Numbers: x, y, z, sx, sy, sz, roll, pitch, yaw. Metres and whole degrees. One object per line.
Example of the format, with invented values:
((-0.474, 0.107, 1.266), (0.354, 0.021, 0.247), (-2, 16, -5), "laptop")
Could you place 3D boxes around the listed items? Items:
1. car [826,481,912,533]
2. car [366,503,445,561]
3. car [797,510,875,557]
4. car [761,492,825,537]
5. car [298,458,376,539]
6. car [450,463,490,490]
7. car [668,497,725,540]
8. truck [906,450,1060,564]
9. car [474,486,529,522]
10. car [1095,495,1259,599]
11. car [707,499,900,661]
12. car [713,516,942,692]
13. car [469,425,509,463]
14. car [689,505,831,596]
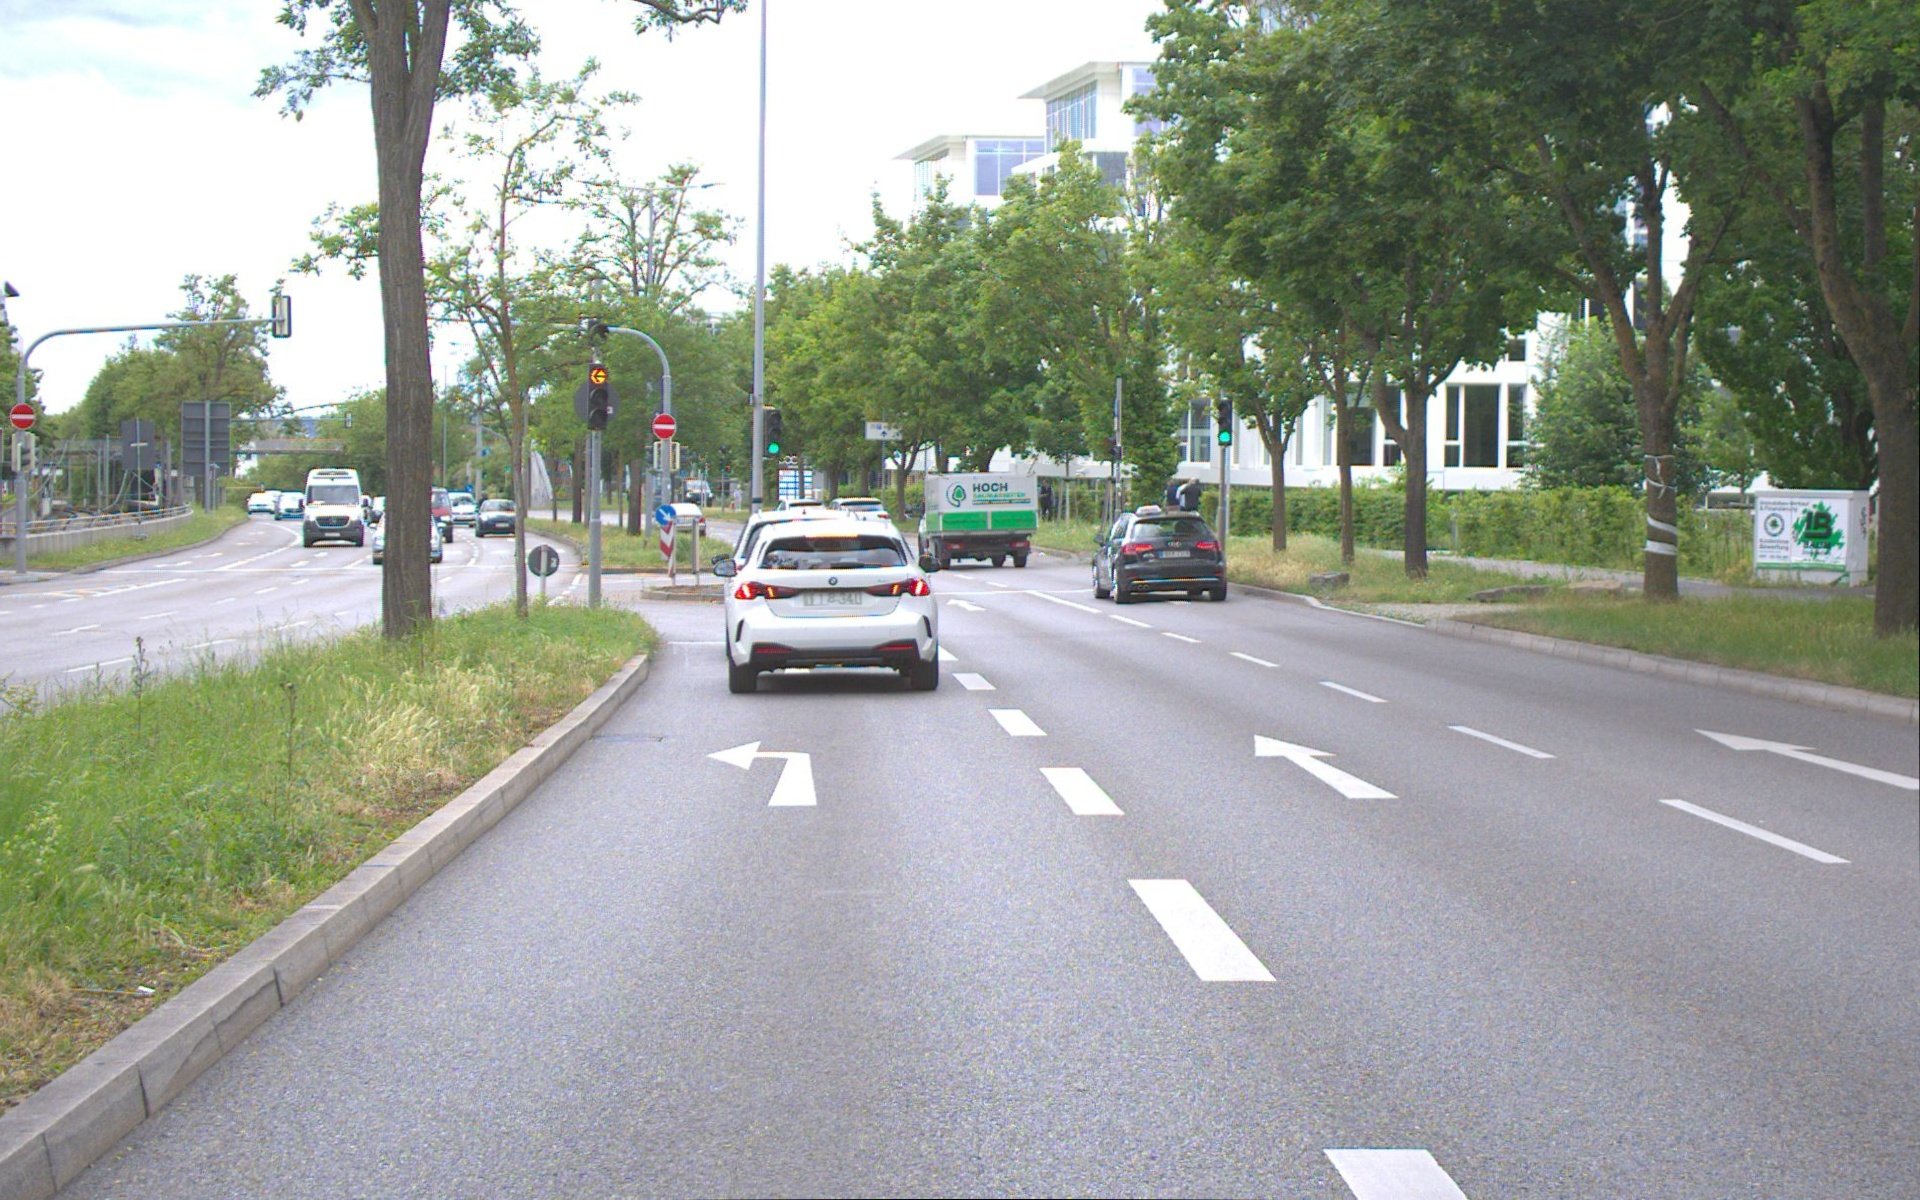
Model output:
((-2.692, -2.732, 100.738), (1.993, 1.503, 4.001), (0, 2, -9), "car")
((-14.696, -1.818, 91.285), (1.753, 1.439, 4.136), (2, 2, -5), "car")
((-4.132, -2.204, 113.842), (1.993, 1.503, 4.001), (0, 2, -11), "car")
((-5.700, -2.921, 117.083), (1.993, 1.485, 4.001), (1, 2, -5), "car")
((-21.132, -3.442, 116.815), (1.993, 2.625, 5.876), (2, 2, -5), "car")
((-30.315, -7.648, 212.884), (1.993, 1.612, 4.001), (2, 2, -2), "car")
((-9.521, -2.941, 124.046), (1.993, 1.485, 4.001), (1, 2, -5), "car")
((0.466, -2.138, 79.640), (2.859, 2.510, 6.289), (0, 1, -6), "truck")
((-17.628, -3.697, 132.317), (1.753, 1.366, 3.780), (-1, 2, -2), "car")
((3.399, -0.868, 54.569), (1.993, 1.590, 4.001), (0, 2, -5), "car")
((-1.668, -0.246, 37.532), (1.993, 1.666, 4.000), (0, 1, -1), "car")
((-1.106, -0.007, 30.428), (1.863, 1.444, 4.000), (0, 1, 0), "car")
((-26.716, -8.852, 195.115), (1.993, 2.004, 4.325), (2, 2, -5), "car")
((-3.427, -0.868, 59.548), (1.994, 1.503, 4.000), (0, 1, 3), "car")
